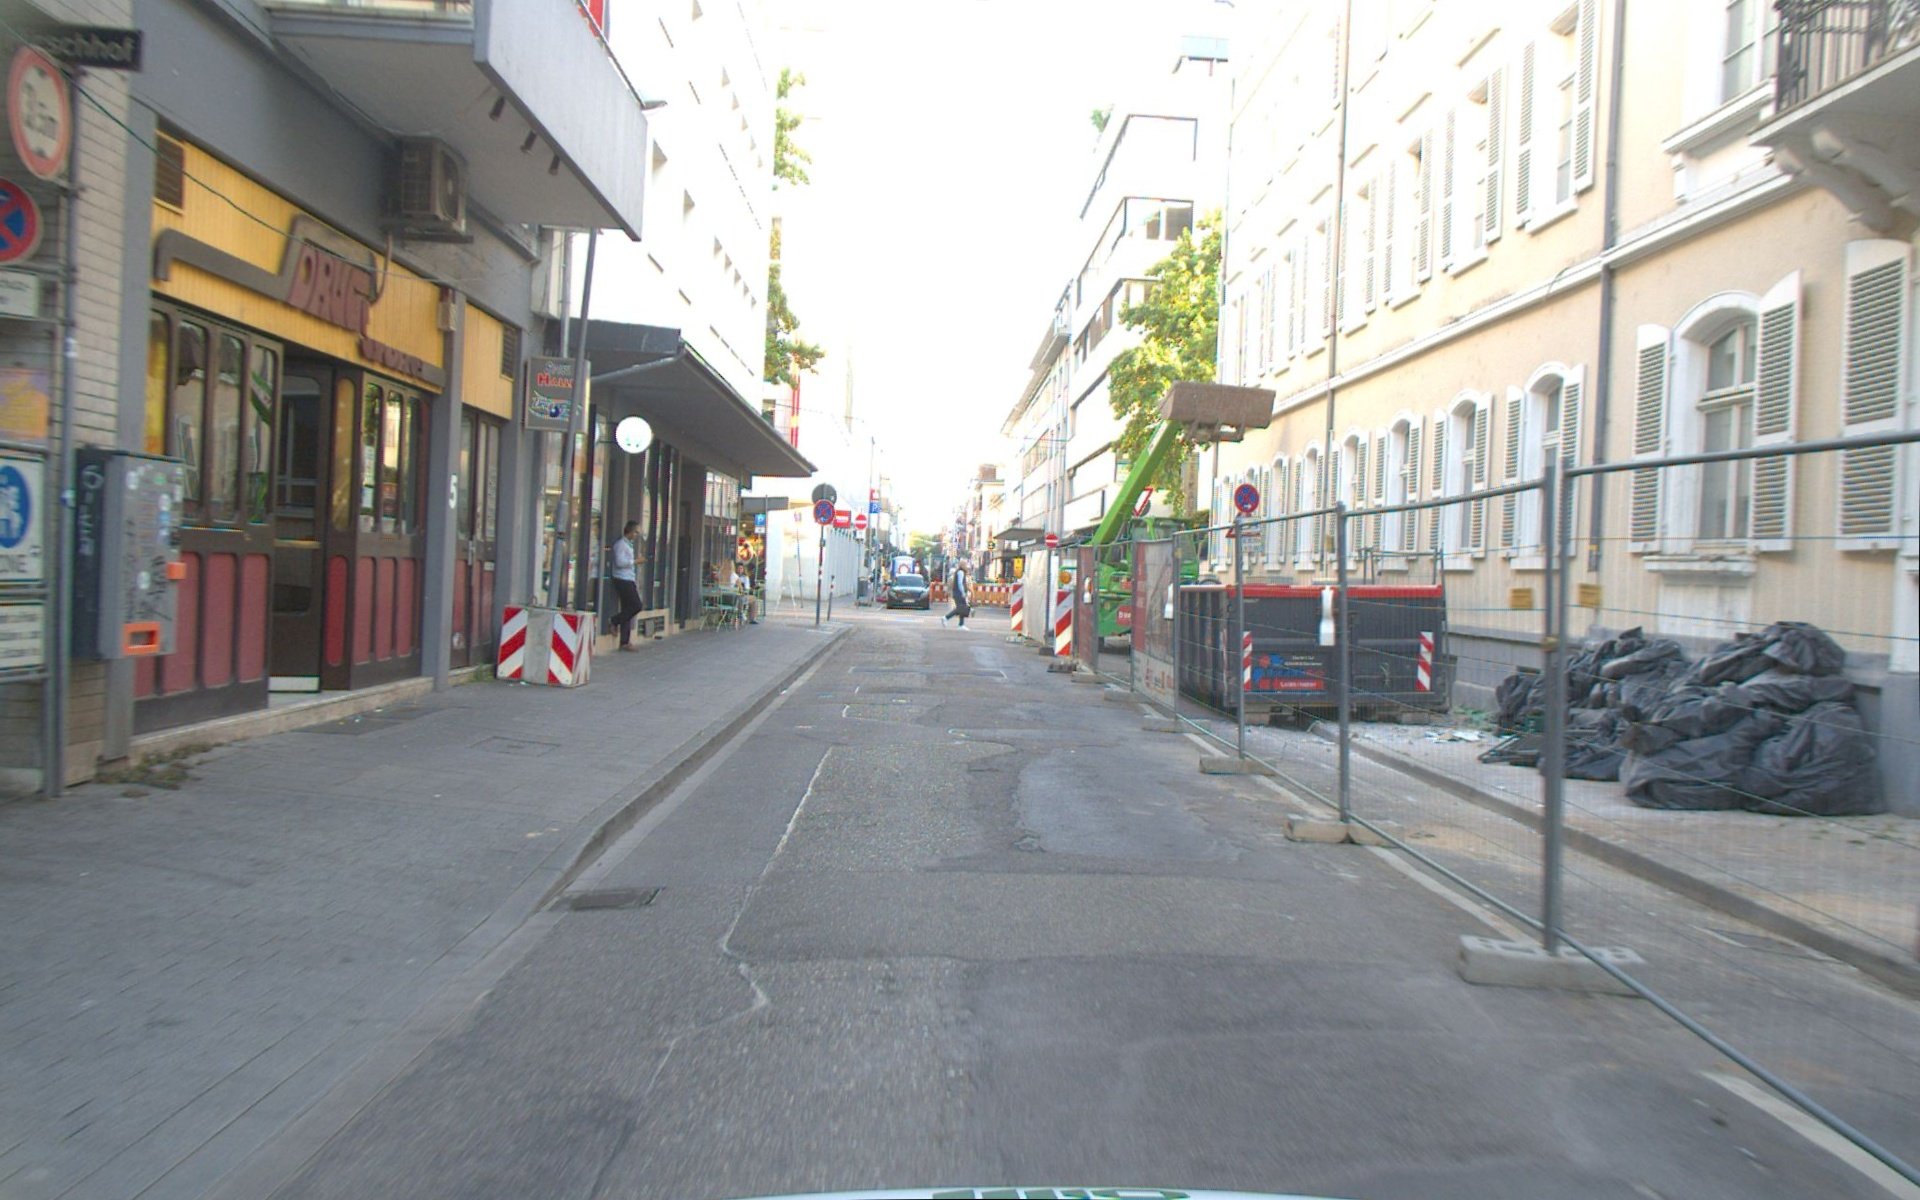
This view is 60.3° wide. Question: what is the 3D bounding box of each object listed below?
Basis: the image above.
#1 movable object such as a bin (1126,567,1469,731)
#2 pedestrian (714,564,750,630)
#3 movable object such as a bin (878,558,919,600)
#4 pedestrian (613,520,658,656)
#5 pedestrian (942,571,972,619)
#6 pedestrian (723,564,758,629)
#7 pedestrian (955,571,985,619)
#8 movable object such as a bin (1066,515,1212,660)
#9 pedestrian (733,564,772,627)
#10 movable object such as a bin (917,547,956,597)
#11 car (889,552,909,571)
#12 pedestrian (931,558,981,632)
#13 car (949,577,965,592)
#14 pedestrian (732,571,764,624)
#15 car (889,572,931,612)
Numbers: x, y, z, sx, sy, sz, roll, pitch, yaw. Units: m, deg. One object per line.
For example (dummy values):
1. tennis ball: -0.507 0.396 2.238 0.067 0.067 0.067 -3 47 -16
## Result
1. movable object such as a bin: 4.103 0.483 22.014 2.681 1.667 7.549 3 1 -2
2. pedestrian: -4.627 -0.069 33.592 0.561 1.297 0.713 4 1 -1
3. movable object such as a bin: -3.131 -1.101 84.910 1.953 2.048 4.000 1 1 -1
4. pedestrian: -4.557 -0.169 23.237 0.520 1.866 0.562 2 1 -8
5. pedestrian: -0.115 -0.185 57.710 0.606 1.656 0.859 1 1 -42
6. pedestrian: -4.586 -0.080 34.634 0.561 1.297 0.713 4 1 -1
7. pedestrian: 0.352 -0.179 58.159 0.606 1.656 0.859 1 1 -42
8. movable object such as a bin: 3.814 -0.286 36.076 2.552 2.888 4.449 1 1 -1
9. pedestrian: -4.472 -0.106 35.642 0.688 1.297 0.713 4 1 -1
10. movable object such as a bin: -1.372 -1.585 95.182 2.113 2.710 4.571 2 1 -2
11. car: -6.062 -3.867 164.639 1.953 1.807 3.999 1 1 -1
12. pedestrian: -0.111 -0.139 42.544 1.057 1.867 0.693 1 1 -22
13. car: -0.399 -1.967 208.854 1.953 1.807 3.999 1 1 -1
14. pedestrian: -4.687 -0.061 36.552 0.561 1.133 0.713 4 1 -1
15. car: -2.122 -0.352 69.786 1.597 1.577 3.139 2 1 -5
